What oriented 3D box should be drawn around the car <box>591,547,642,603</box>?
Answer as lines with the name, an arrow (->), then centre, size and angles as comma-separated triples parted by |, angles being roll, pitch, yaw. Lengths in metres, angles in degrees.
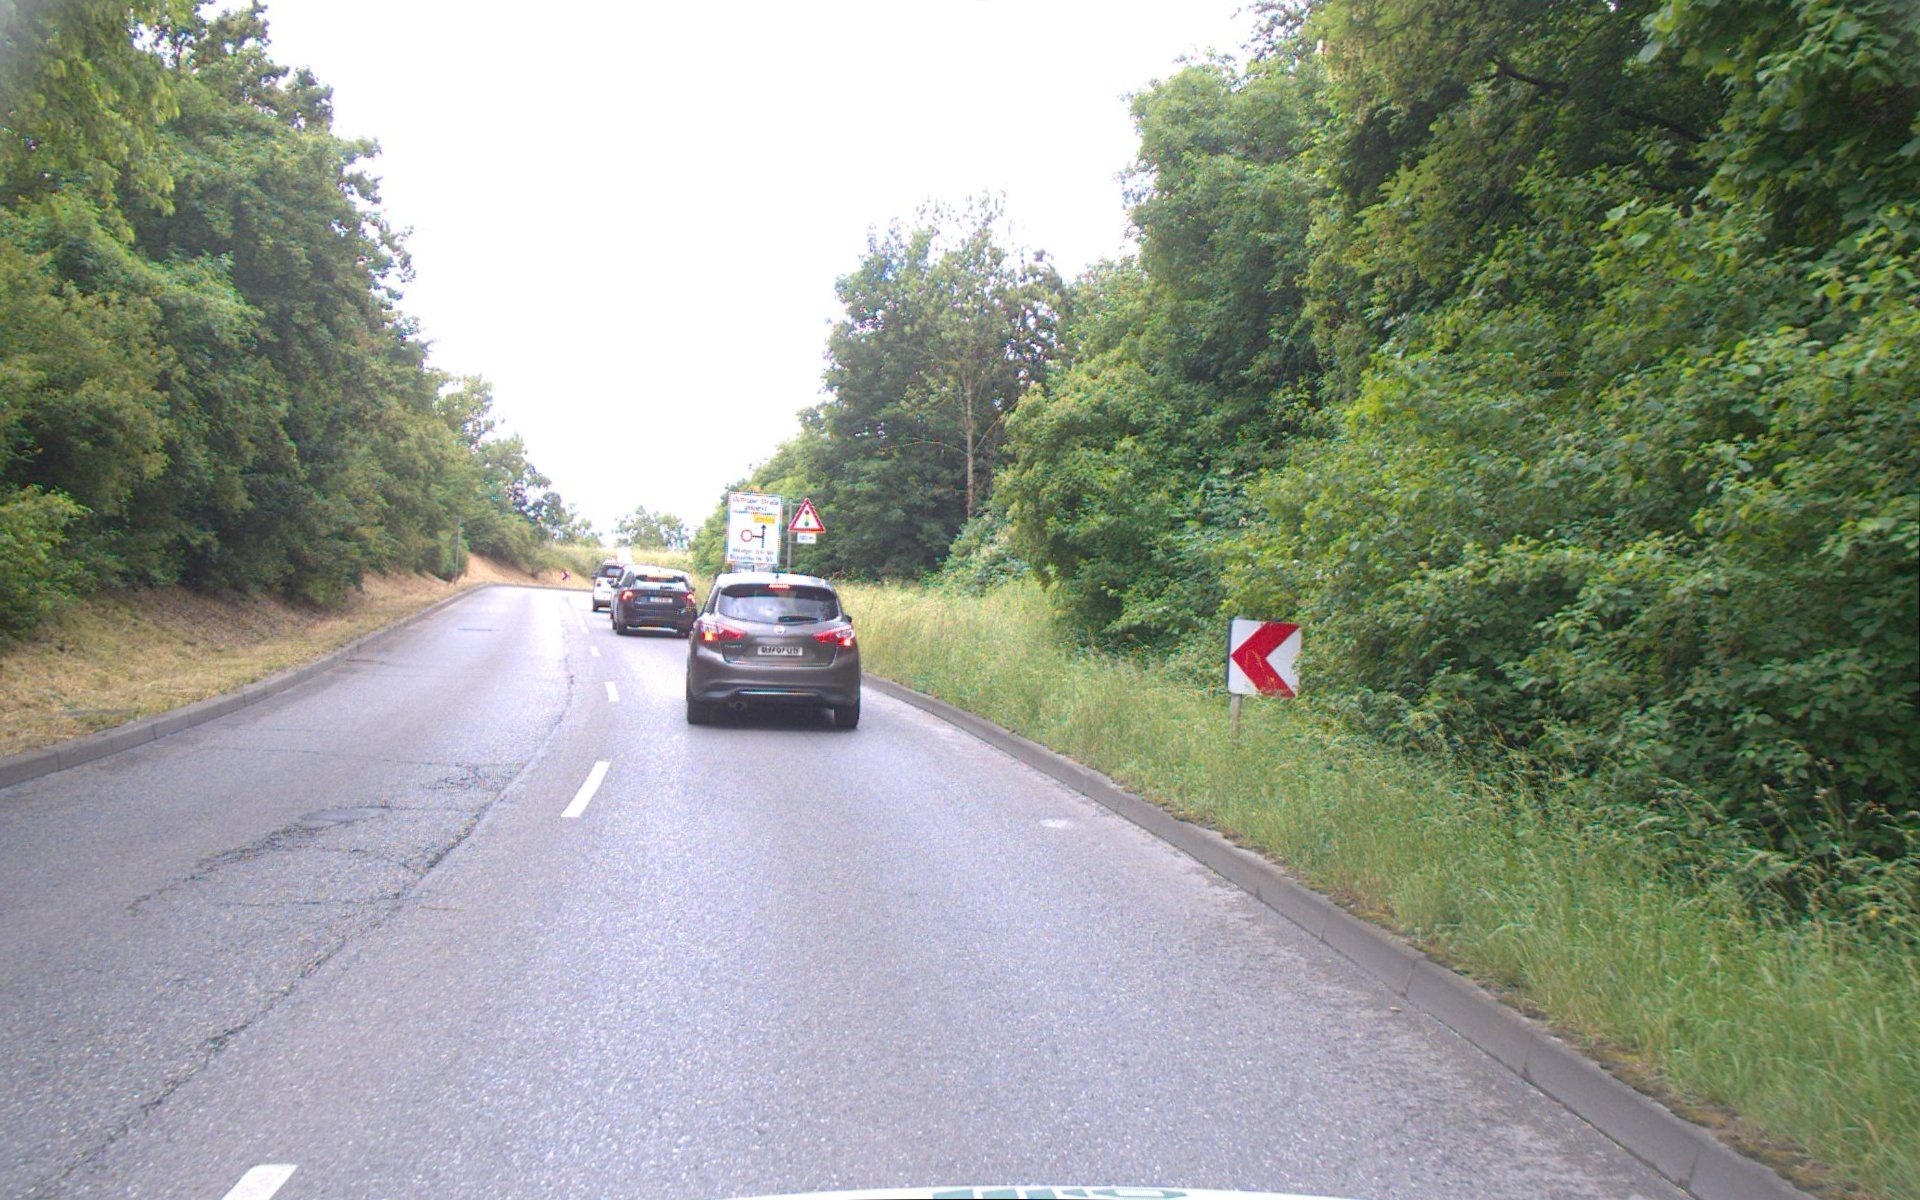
car -> -12.576, -0.918, 60.372 | 1.706, 1.968, 3.532 | 1, 1, -13

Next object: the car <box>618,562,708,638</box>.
car -> -6.722, -0.035, 37.243 | 1.799, 1.583, 3.613 | 1, 1, -13

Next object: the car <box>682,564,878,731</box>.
car -> -2.020, 0.432, 17.735 | 1.797, 1.583, 3.490 | 1, 1, -11

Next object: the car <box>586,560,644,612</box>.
car -> -11.083, -0.479, 53.004 | 1.706, 1.583, 3.532 | 1, 1, -13

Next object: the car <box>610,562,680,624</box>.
car -> -8.620, -0.217, 45.122 | 1.706, 1.583, 3.532 | 1, 1, -13
